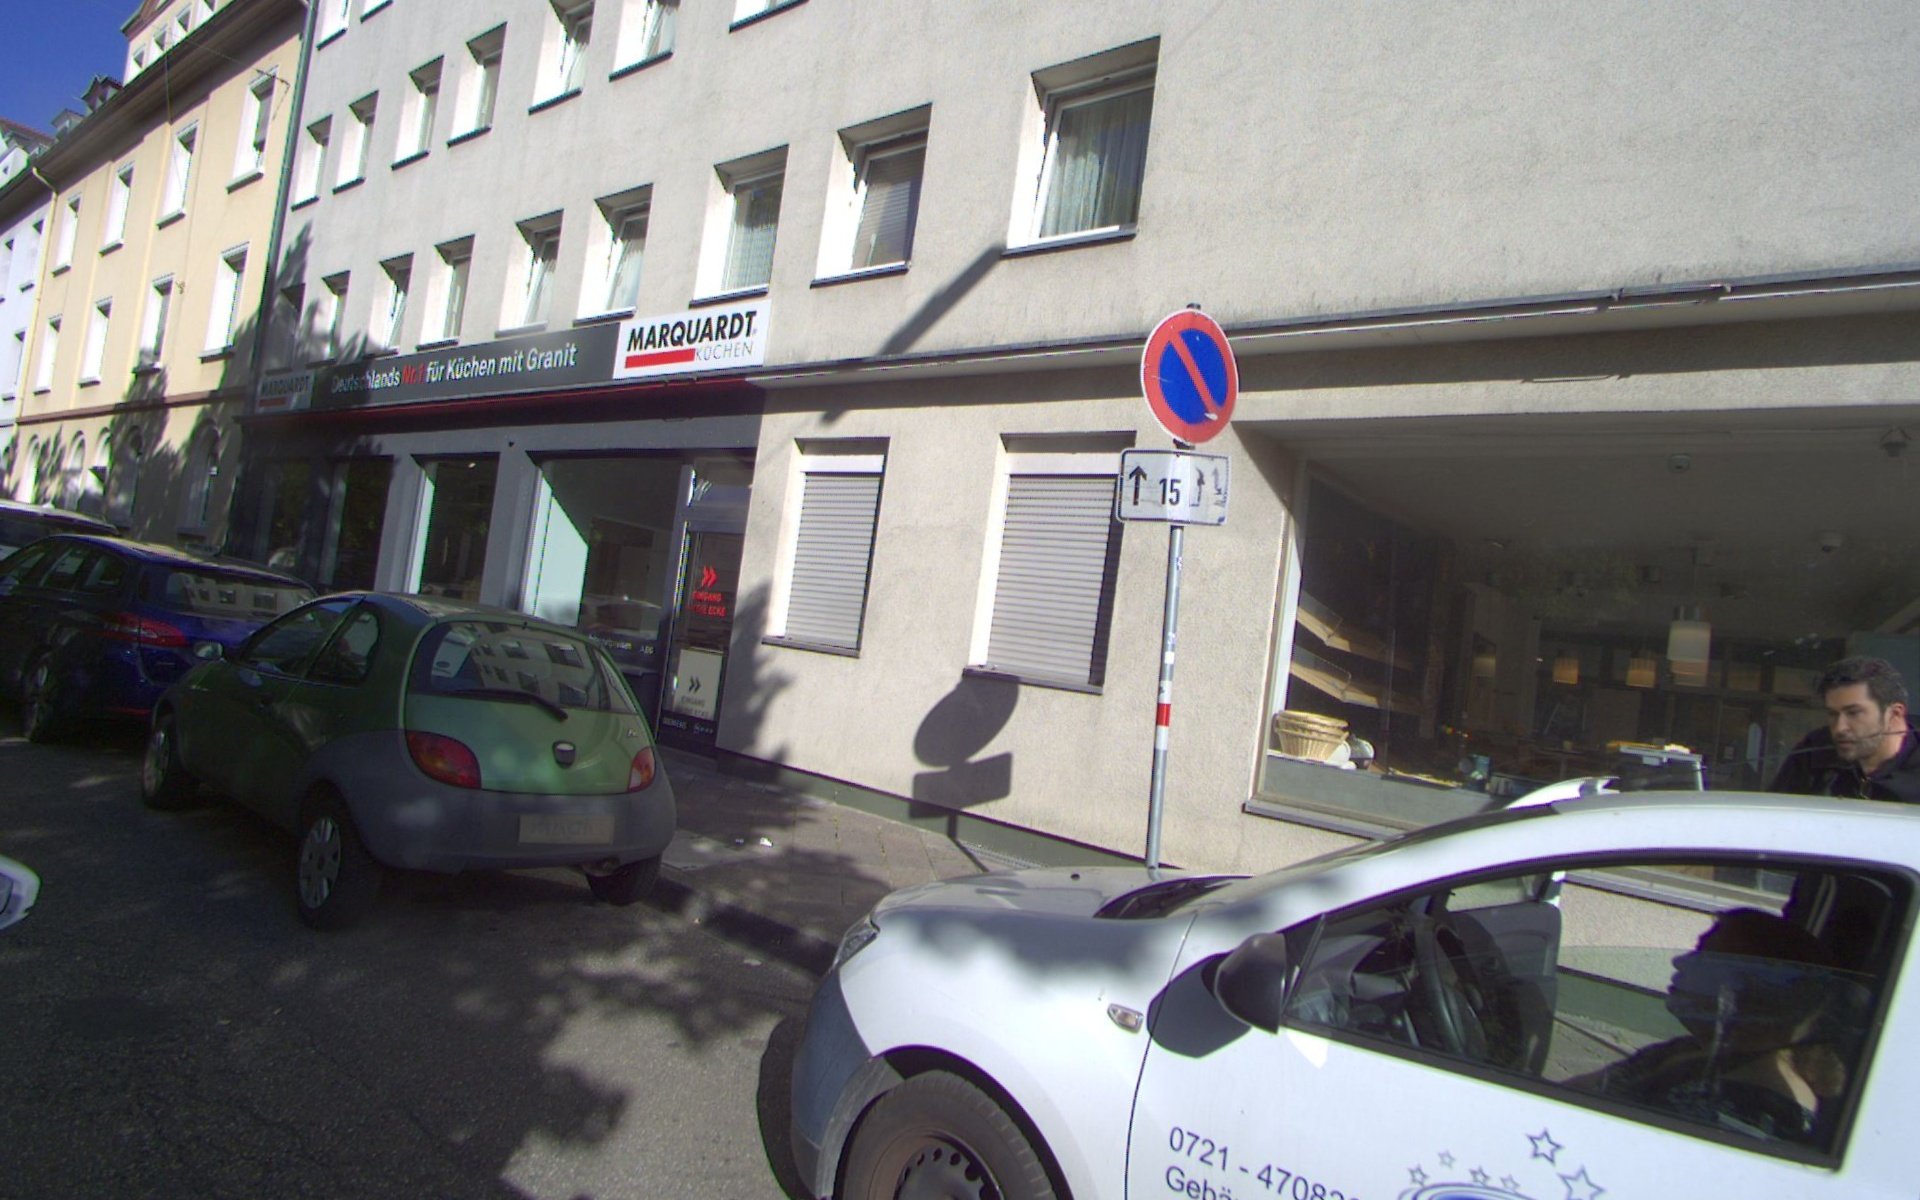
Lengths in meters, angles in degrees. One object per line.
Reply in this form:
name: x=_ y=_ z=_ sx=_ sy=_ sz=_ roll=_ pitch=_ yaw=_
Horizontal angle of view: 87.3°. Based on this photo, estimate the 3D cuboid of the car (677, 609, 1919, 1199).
car: x=1.431 y=1.044 z=2.055 sx=3.963 sy=1.514 sz=1.720 roll=6 pitch=-3 yaw=38

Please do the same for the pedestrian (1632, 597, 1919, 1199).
pedestrian: x=2.498 y=0.932 z=2.849 sx=0.735 sy=1.741 sz=0.758 roll=6 pitch=-2 yaw=43

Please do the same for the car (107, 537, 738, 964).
car: x=-3.113 y=0.602 z=5.556 sx=3.618 sy=1.479 sz=1.598 roll=6 pitch=-3 yaw=38

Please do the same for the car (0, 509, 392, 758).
car: x=-6.796 y=0.162 z=8.198 sx=4.368 sy=1.479 sz=1.806 roll=6 pitch=-3 yaw=33

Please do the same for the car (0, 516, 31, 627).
car: x=-15.403 y=-0.654 z=14.728 sx=4.173 sy=1.516 sz=1.764 roll=6 pitch=-3 yaw=37

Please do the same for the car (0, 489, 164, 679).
car: x=-10.989 y=-0.326 z=11.392 sx=4.439 sy=1.772 sz=1.765 roll=6 pitch=-3 yaw=35
